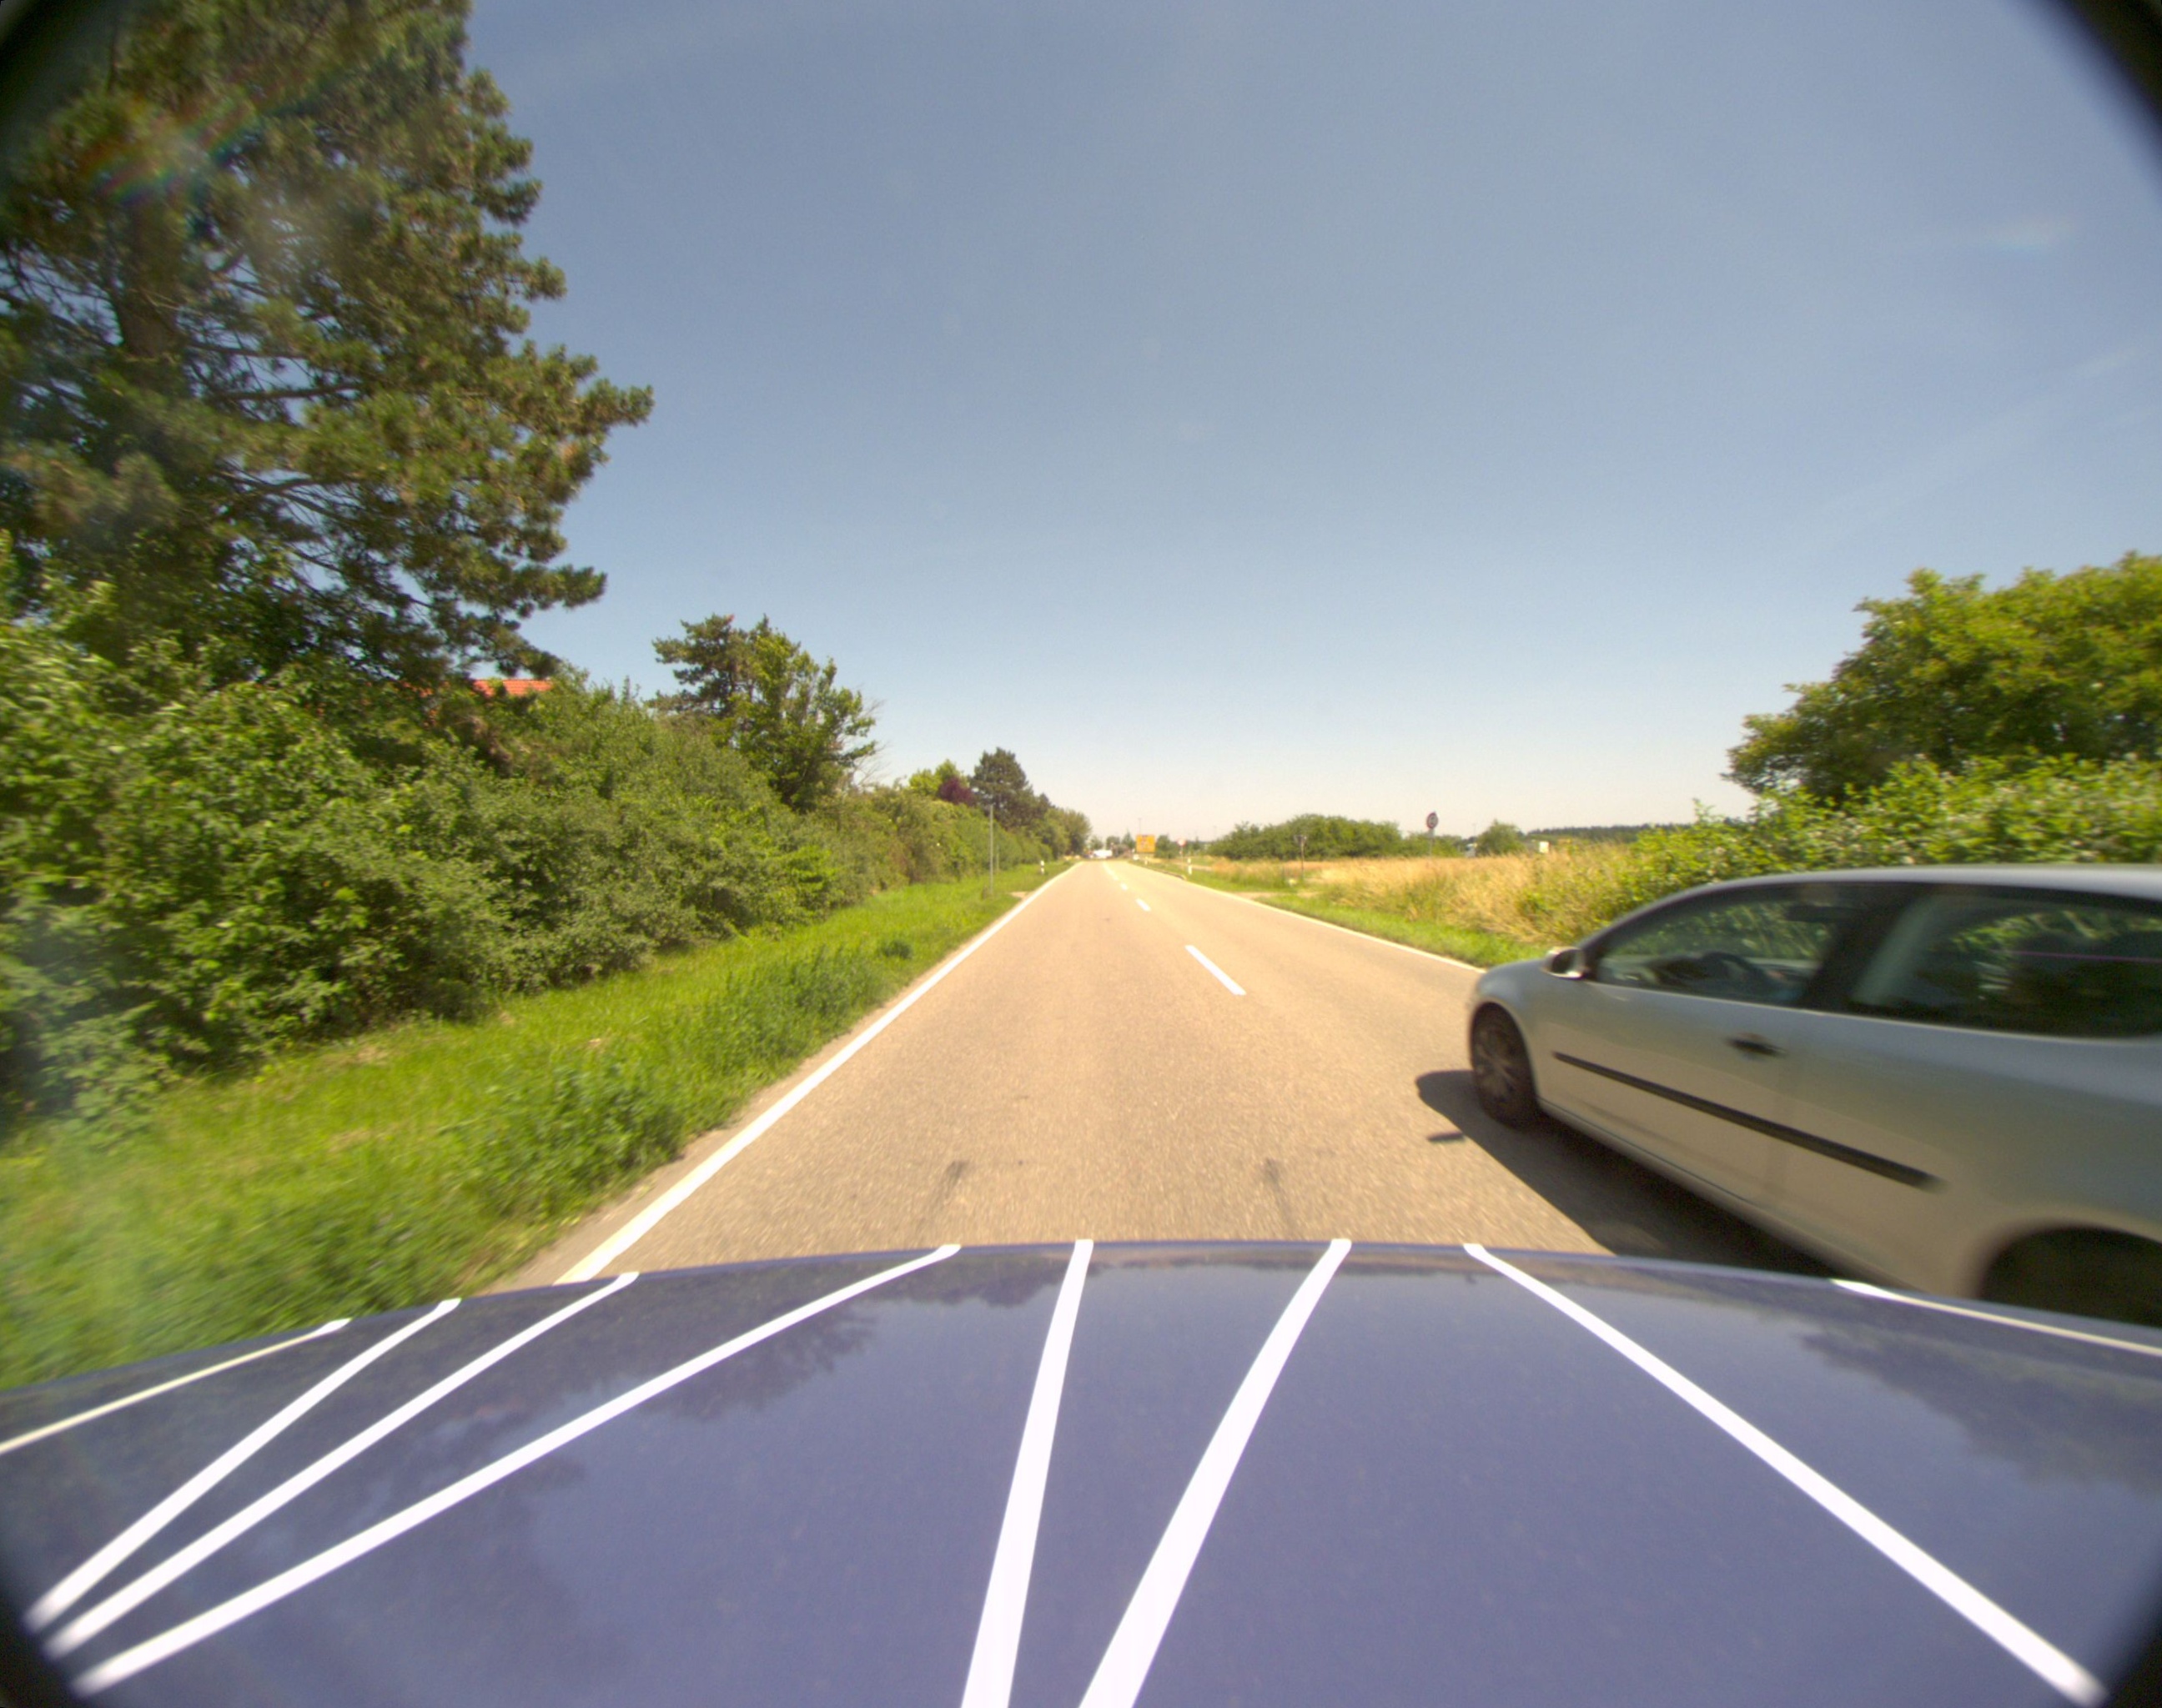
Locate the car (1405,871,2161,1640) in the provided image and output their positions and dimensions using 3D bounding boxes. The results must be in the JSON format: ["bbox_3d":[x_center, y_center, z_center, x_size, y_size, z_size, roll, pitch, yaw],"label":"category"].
[{"bbox_3d":[2.985,0.857,2.746,1.682,1.413,4.421,2,0,0],"label":"car"}]

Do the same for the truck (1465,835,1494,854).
[{"bbox_3d":[84.619,-1.958,161.394,2.647,3.911,4.767,-1,1,-28],"label":"truck"}]

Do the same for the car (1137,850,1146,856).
[{"bbox_3d":[15.565,-0.249,195.627,1.746,1.419,3.999,0,1,-1],"label":"car"}]

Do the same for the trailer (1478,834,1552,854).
[{"bbox_3d":[88.141,-1.943,154.778,2.647,3.911,13.849,-1,0,-28],"label":"trailer"}]
